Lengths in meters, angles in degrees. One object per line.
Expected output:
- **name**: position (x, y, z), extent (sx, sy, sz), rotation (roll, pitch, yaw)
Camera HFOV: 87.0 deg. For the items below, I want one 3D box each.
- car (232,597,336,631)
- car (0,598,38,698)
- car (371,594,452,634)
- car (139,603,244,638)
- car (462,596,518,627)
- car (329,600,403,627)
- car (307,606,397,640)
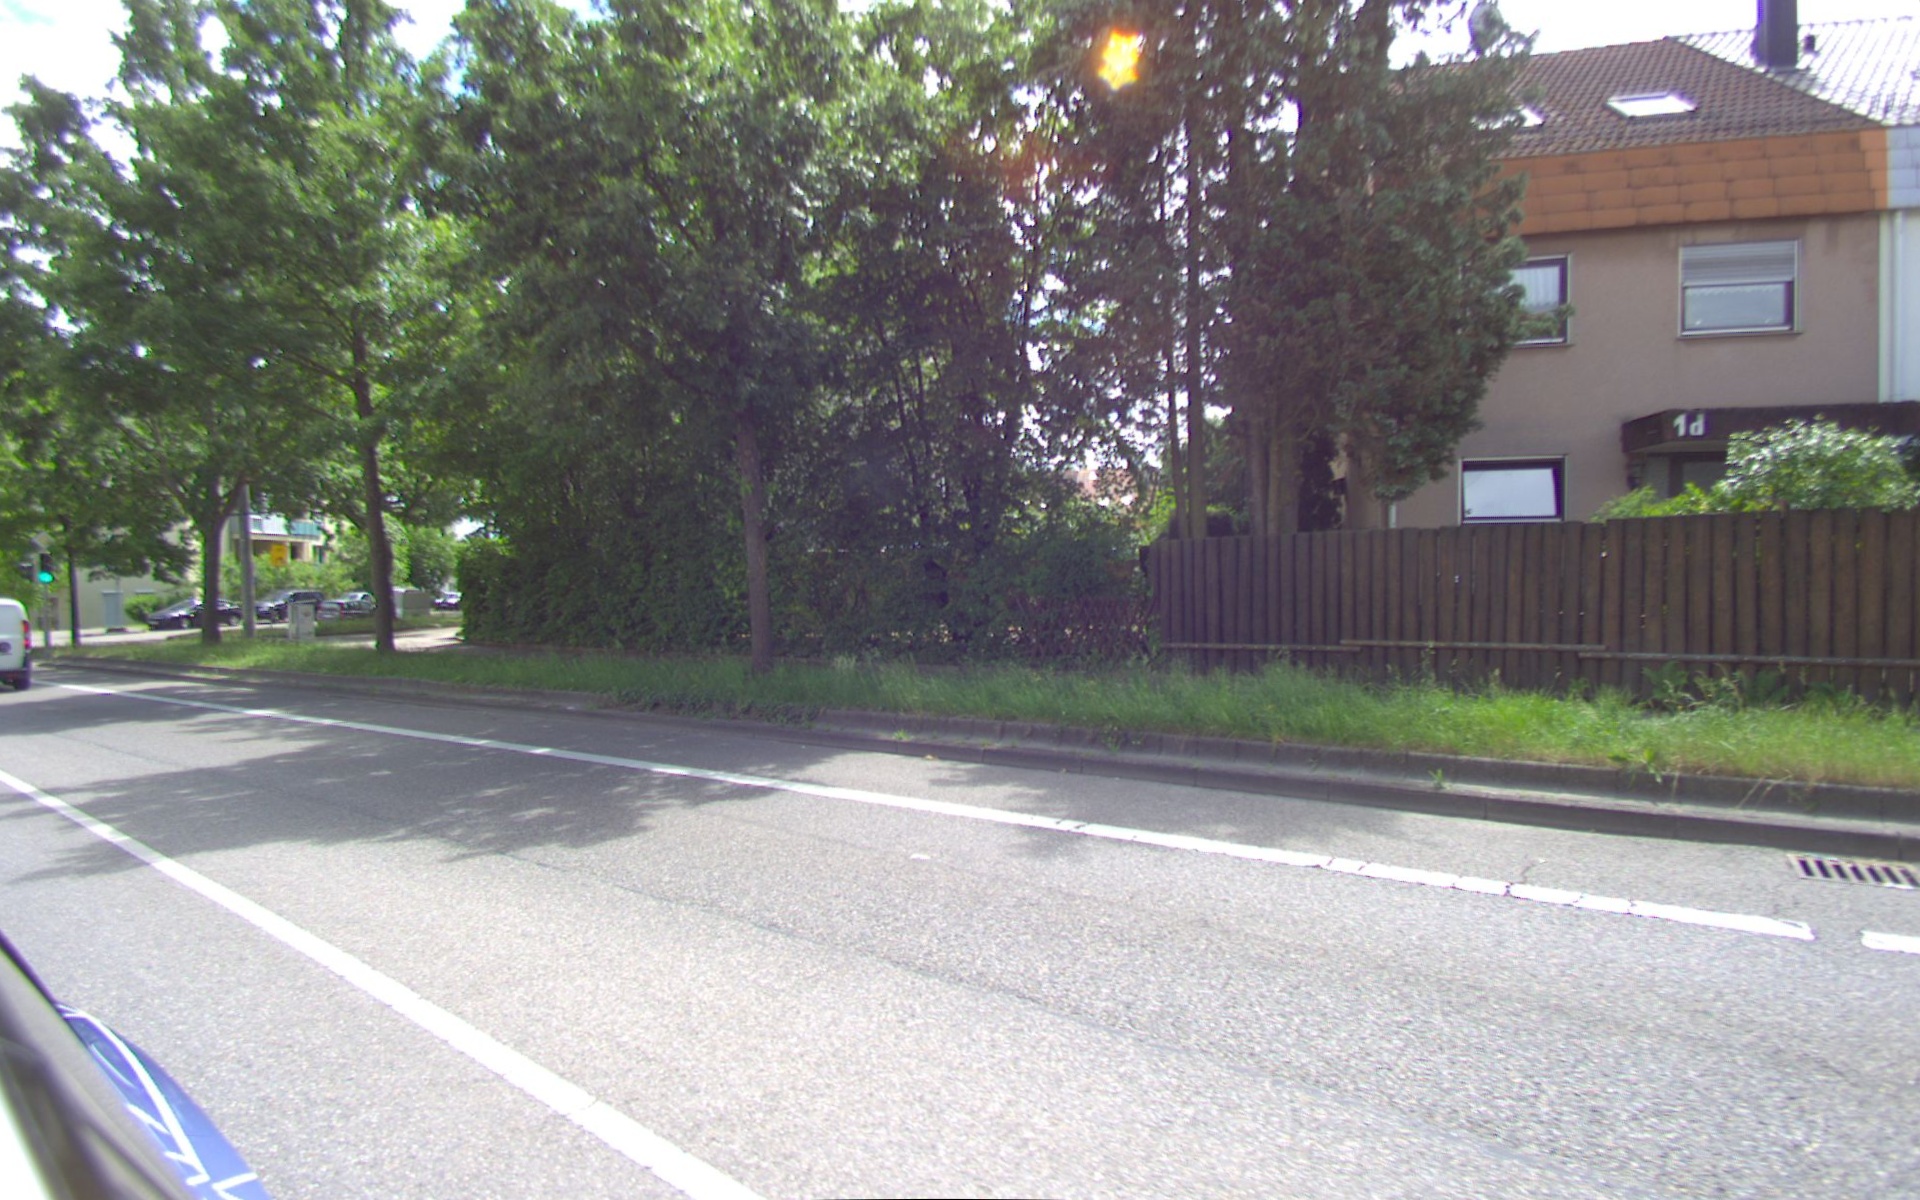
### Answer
- **car**: position (-37.740, 0.741, 56.632), extent (2.079, 1.615, 4.777), rotation (0, 3, 11)
- **car**: position (-20.364, 0.907, 20.346), extent (4.585, 1.889, 1.832), rotation (1, 1, 36)
- **car**: position (-29.833, 0.733, 55.205), extent (1.824, 1.858, 3.992), rotation (-1, 3, 7)
- **car**: position (-39.037, 1.001, 51.539), extent (1.719, 1.408, 4.140), rotation (-1, 4, 11)
- **car**: position (-30.185, 0.686, 65.165), extent (2.092, 1.807, 4.427), rotation (-2, 1, -9)
- **car**: position (-37.668, 0.819, 64.311), extent (1.952, 1.342, 3.991), rotation (-1, 4, 9)
- **car**: position (-30.286, 1.113, 50.560), extent (1.677, 1.463, 3.989), rotation (1, 1, 9)
